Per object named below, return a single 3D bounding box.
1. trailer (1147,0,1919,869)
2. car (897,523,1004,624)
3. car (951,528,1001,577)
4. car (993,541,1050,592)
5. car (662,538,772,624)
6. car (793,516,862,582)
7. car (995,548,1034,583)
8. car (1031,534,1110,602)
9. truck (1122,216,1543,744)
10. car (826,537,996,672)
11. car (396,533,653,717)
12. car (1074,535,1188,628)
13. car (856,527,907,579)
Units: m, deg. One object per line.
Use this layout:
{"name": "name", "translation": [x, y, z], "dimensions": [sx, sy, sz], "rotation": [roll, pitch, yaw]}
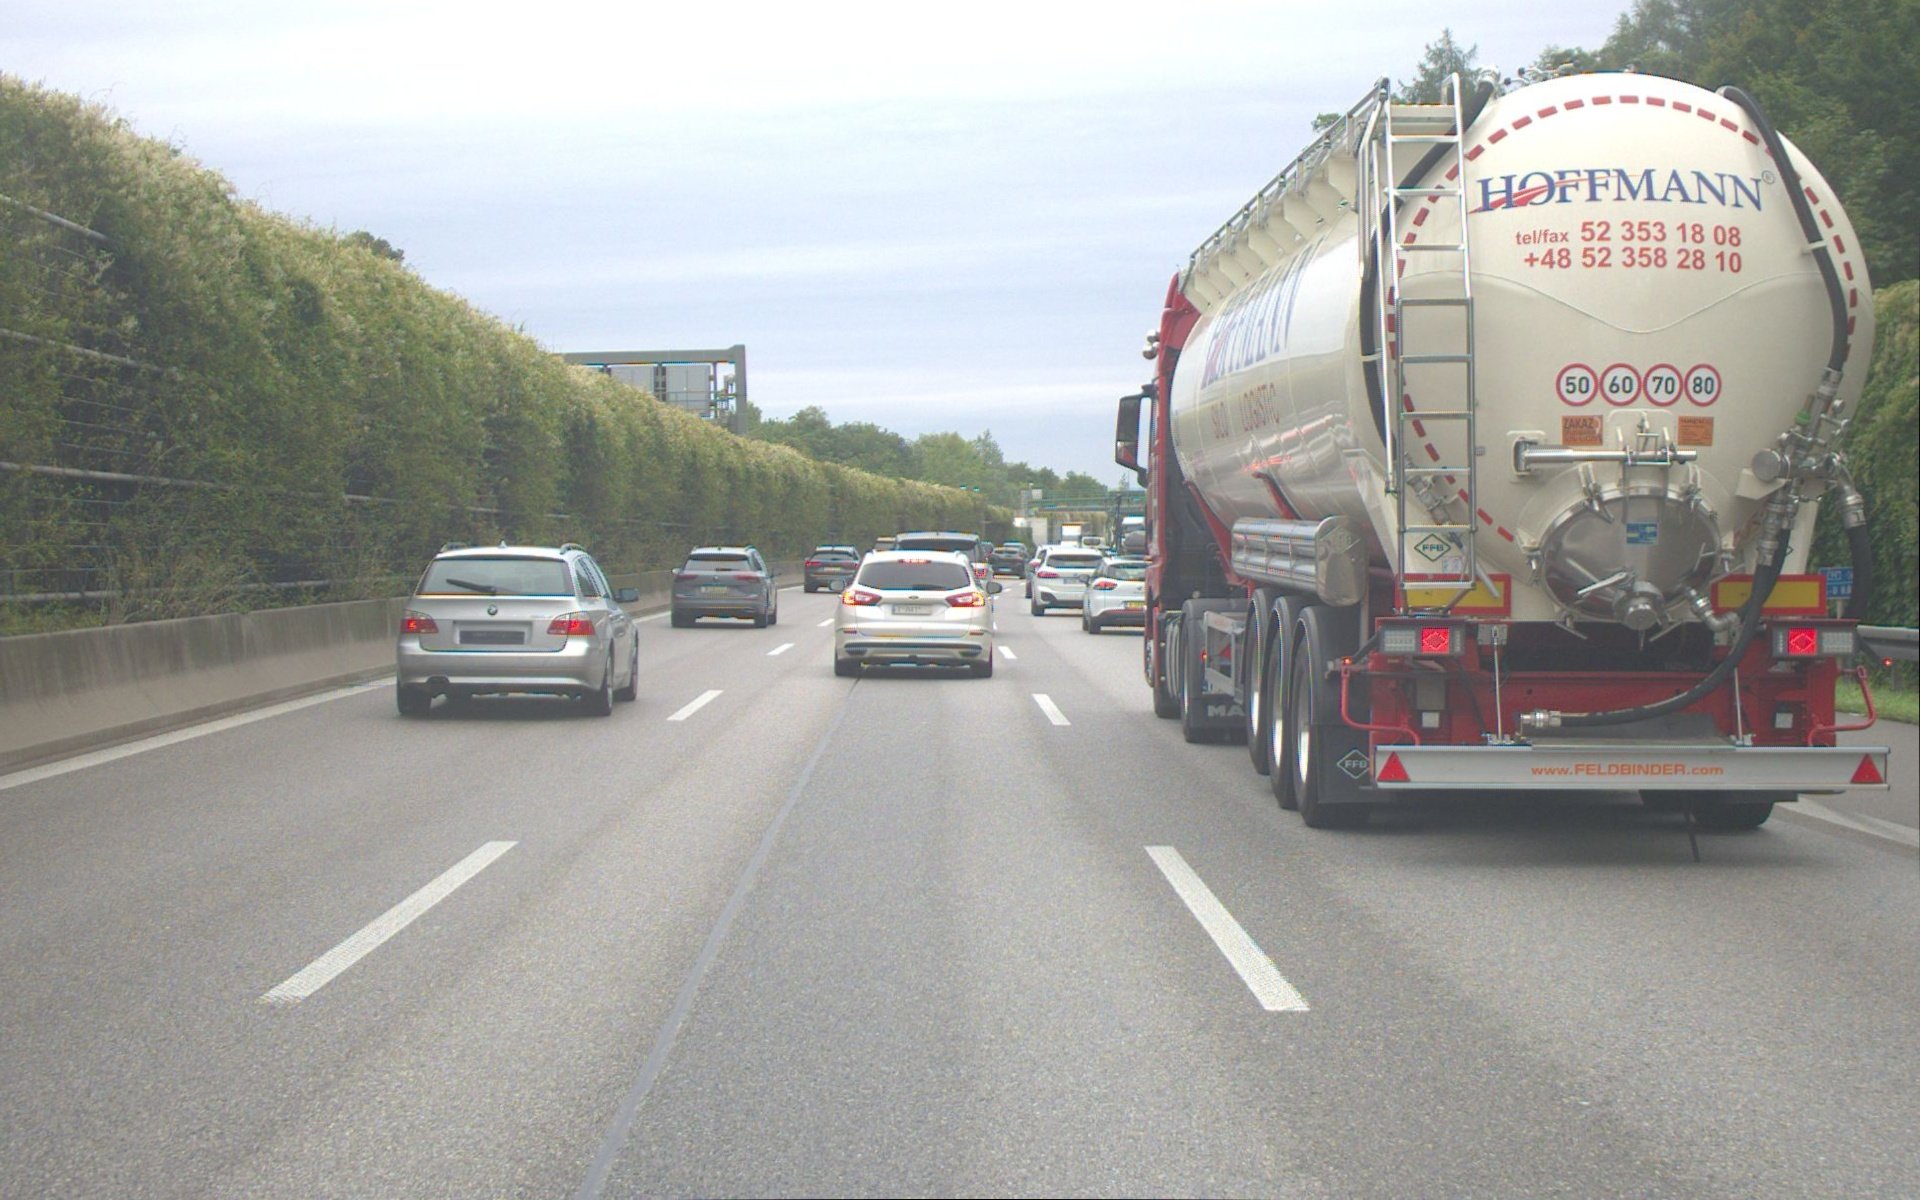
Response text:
{"name": "trailer", "translation": [3.022, -0.833, 22.131], "dimensions": [2.668, 3.925, 13.131], "rotation": [1, 1, -1]}
{"name": "car", "translation": [-0.178, -0.494, 59.791], "dimensions": [1.689, 1.501, 3.872], "rotation": [4, 2, -1]}
{"name": "car", "translation": [0.577, -1.731, 126.022], "dimensions": [1.790, 1.773, 3.871], "rotation": [0, 1, 0]}
{"name": "car", "translation": [1.875, -1.033, 104.940], "dimensions": [1.689, 1.501, 3.871], "rotation": [1, 1, 1]}
{"name": "car", "translation": [-4.433, -0.379, 63.397], "dimensions": [1.720, 1.507, 5.030], "rotation": [1, 1, -1]}
{"name": "car", "translation": [-4.073, -1.581, 105.889], "dimensions": [1.993, 2.007, 3.841], "rotation": [0, 1, -1]}
{"name": "car", "translation": [2.436, -1.571, 155.132], "dimensions": [1.689, 1.534, 3.872], "rotation": [1, 1, 0]}
{"name": "car", "translation": [2.492, -0.734, 78.412], "dimensions": [1.689, 1.501, 3.871], "rotation": [1, 1, 1]}
{"name": "truck", "translation": [2.932, -0.932, 28.919], "dimensions": [2.695, 3.899, 6.557], "rotation": [1, 1, -1]}
{"name": "car", "translation": [-0.632, 0.010, 41.037], "dimensions": [1.891, 1.499, 5.031], "rotation": [1, 1, -2]}
{"name": "car", "translation": [-3.831, 0.160, 30.966], "dimensions": [1.720, 1.464, 5.031], "rotation": [1, 2, -1]}
{"name": "car", "translation": [3.090, -0.371, 63.031], "dimensions": [1.816, 1.620, 5.030], "rotation": [1, 1, 0]}
{"name": "car", "translation": [-3.111, -1.879, 136.957], "dimensions": [1.993, 2.007, 4.000], "rotation": [0, 1, -1]}
